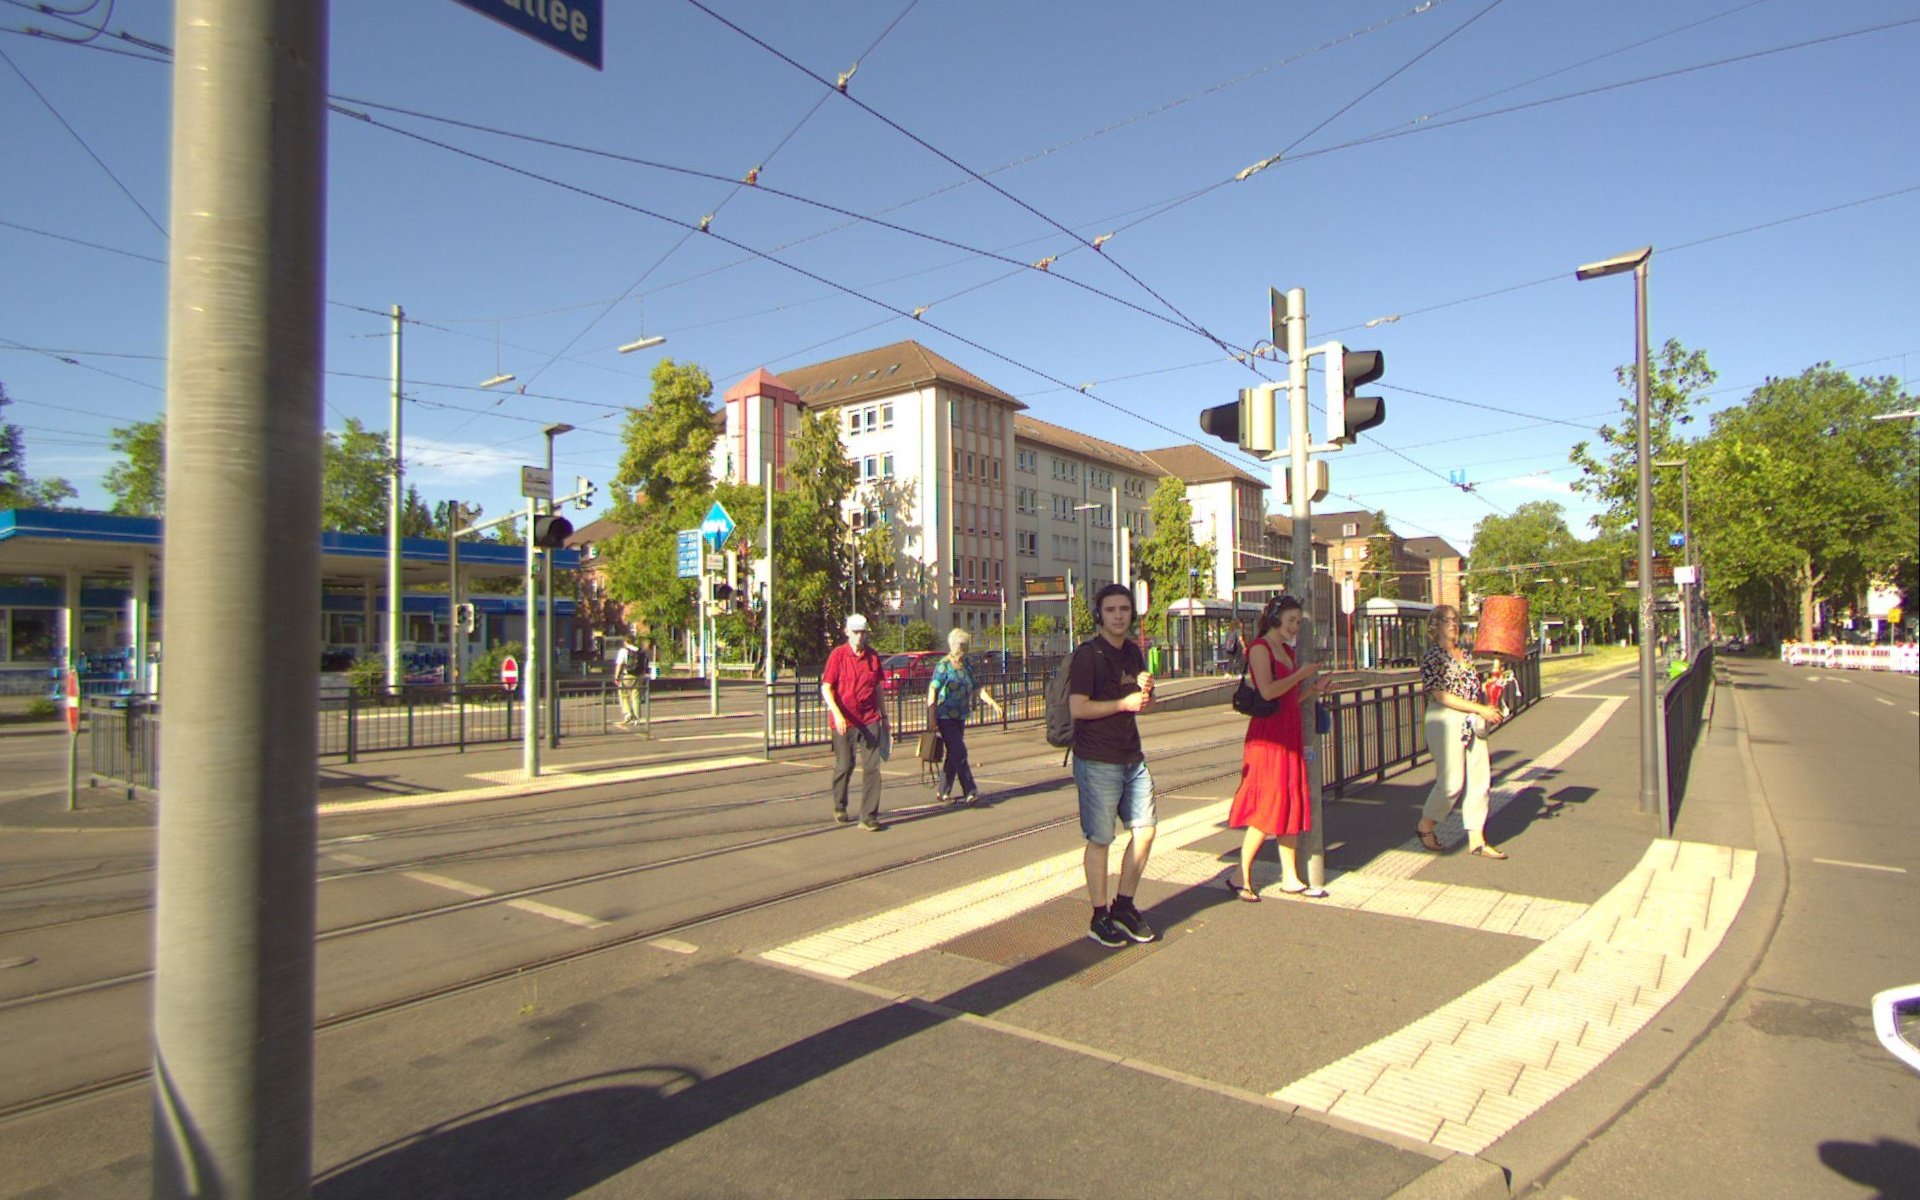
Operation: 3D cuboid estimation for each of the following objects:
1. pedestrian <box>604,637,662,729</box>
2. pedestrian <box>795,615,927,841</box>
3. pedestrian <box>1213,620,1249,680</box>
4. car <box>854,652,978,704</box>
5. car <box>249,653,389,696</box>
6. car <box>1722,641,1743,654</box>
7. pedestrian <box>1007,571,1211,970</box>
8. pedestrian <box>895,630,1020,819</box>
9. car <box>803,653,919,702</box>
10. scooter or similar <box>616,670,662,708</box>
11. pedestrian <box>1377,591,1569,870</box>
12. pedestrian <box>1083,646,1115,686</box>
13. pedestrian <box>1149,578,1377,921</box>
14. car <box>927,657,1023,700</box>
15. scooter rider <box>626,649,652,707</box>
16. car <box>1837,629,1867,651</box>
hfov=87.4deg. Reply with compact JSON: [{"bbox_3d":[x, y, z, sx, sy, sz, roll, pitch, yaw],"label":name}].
[{"bbox_3d":[-6.423,1.608,19.744,0.811,1.755,0.785,-3,-3,40],"label":"pedestrian"},{"bbox_3d":[-0.836,1.011,8.341,0.816,1.746,0.842,1,-2,-30],"label":"pedestrian"},{"bbox_3d":[7.300,1.344,27.067,0.723,1.589,0.591,1,-2,-32],"label":"pedestrian"},{"bbox_3d":[-1.353,2.445,32.162,1.690,1.505,4.203,-3,-3,37],"label":"car"},{"bbox_3d":[-24.441,2.817,38.442,1.690,1.505,4.203,-3,-3,37],"label":"car"},{"bbox_3d":[96.559,5.961,125.536,1.943,1.528,3.986,-2,-3,36],"label":"car"},{"bbox_3d":[0.709,0.772,4.951,0.645,1.755,0.797,0,-3,-24],"label":"pedestrian"},{"bbox_3d":[-0.031,1.111,9.382,0.856,1.652,0.800,1,-3,-35],"label":"pedestrian"},{"bbox_3d":[-3.371,2.633,34.685,1.716,1.539,3.983,-3,-3,39],"label":"car"},{"bbox_3d":[-10.831,2.995,33.913,0.457,1.198,1.470,-3,-3,38],"label":"scooter or similar"},{"bbox_3d":[3.466,0.838,6.847,0.776,1.755,0.821,0,-2,-16],"label":"pedestrian"},{"bbox_3d":[5.120,2.425,36.999,1.027,1.439,0.577,-2,-3,33],"label":"pedestrian"},{"bbox_3d":[1.709,0.790,5.757,0.830,1.755,0.899,0,-3,-26],"label":"pedestrian"},{"bbox_3d":[0.634,3.054,39.727,1.716,1.539,3.983,-3,-3,39],"label":"car"},{"bbox_3d":[-10.845,2.634,33.920,0.457,1.925,0.689,-3,-3,38],"label":"scooter rider"},{"bbox_3d":[86.292,3.892,97.150,1.972,2.040,3.977,-2,-3,43],"label":"car"}]
